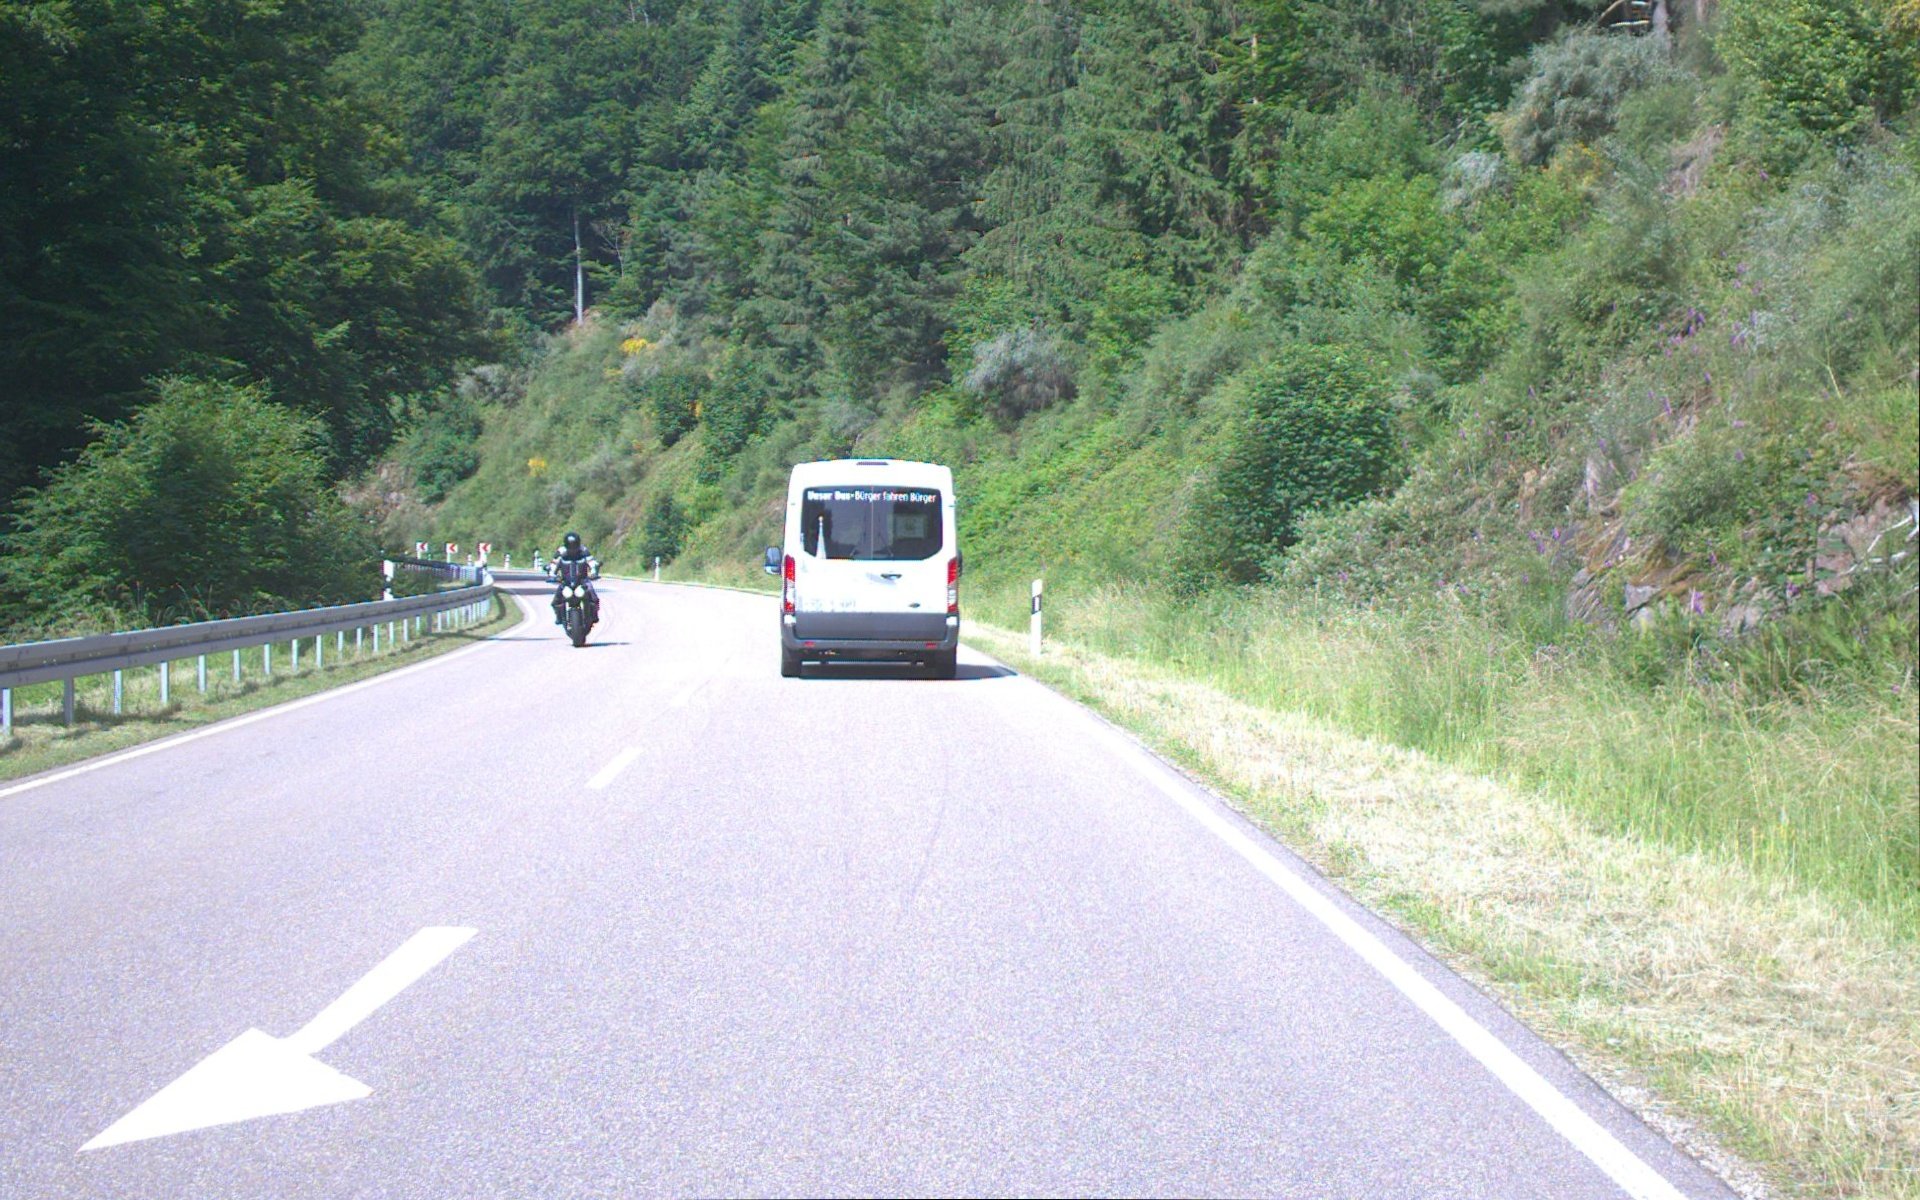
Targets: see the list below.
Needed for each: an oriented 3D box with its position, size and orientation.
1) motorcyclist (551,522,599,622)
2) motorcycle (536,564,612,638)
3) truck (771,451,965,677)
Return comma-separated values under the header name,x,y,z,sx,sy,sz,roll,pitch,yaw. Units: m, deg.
name,x,y,z,sx,sy,sz,roll,pitch,yaw
motorcyclist,-5.825,-0.428,52.092,0.658,1.508,0.934,0,1,-2
motorcycle,-5.829,0.005,52.054,0.984,1.068,1.963,0,1,-2
truck,-1.142,-0.437,40.431,2.083,2.451,4.876,1,1,-3
